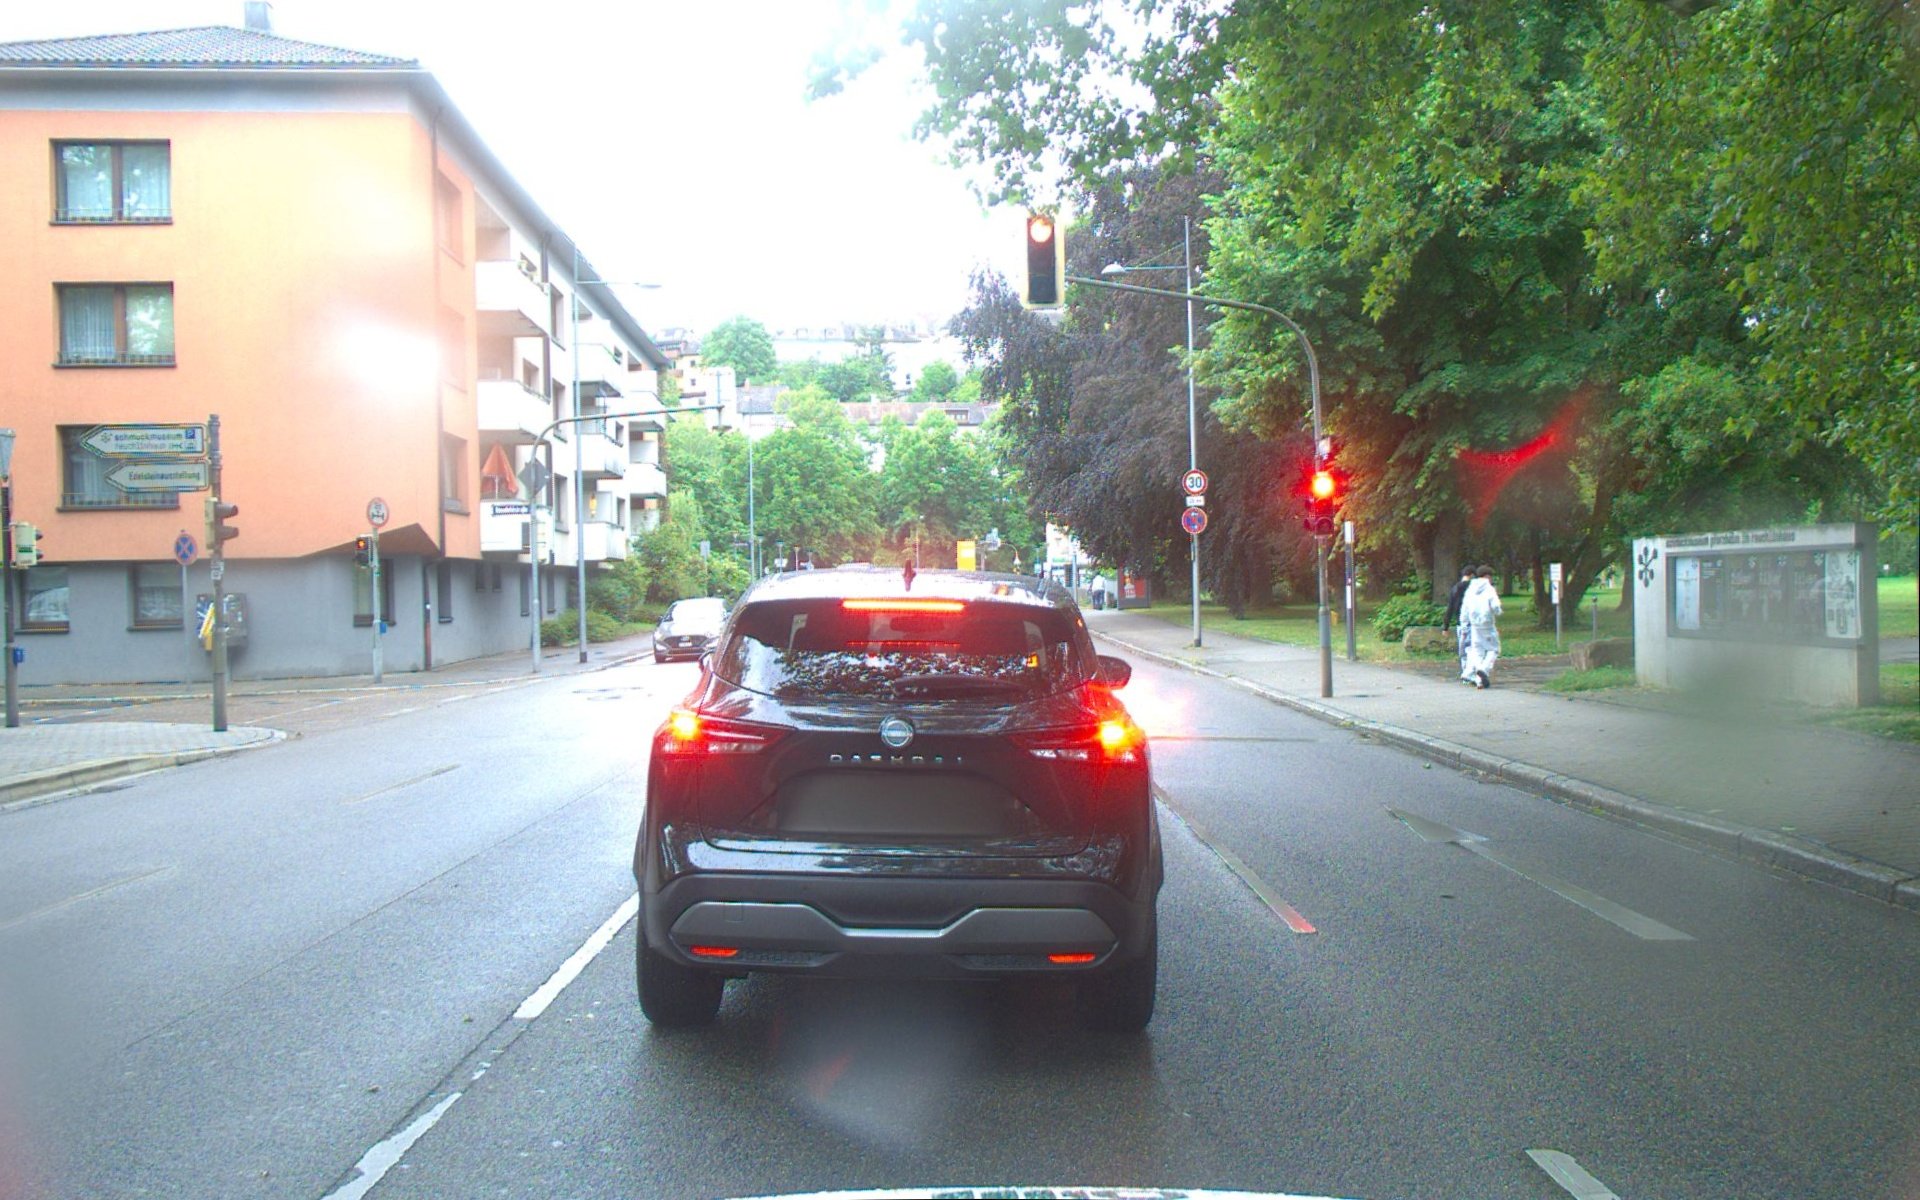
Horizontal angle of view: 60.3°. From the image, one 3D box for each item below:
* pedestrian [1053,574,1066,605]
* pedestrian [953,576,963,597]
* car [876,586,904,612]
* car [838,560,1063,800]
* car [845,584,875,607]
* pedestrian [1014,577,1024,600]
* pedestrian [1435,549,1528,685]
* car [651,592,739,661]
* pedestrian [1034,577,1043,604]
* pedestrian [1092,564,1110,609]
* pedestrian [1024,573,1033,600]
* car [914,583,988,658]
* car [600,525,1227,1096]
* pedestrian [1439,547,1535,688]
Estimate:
[{"bbox_3d":[5.906,-0.640,98.139,0.604,1.833,0.510,-2,0,14],"label":"pedestrian"},{"bbox_3d":[-0.186,-1.080,135.114,0.498,1.702,0.658,-2,0,27],"label":"pedestrian"},{"bbox_3d":[-4.353,-0.064,103.095,1.601,1.559,3.967,-2,0,-1],"label":"car"},{"bbox_3d":[-0.096,0.597,14.441,1.664,1.776,3.640,-2,0,-1],"label":"car"},{"bbox_3d":[-7.211,-0.337,119.424,1.930,1.559,3.967,-2,0,-1],"label":"car"},{"bbox_3d":[4.456,-0.841,124.849,0.498,1.702,0.658,-2,0,27],"label":"pedestrian"},{"bbox_3d":[7.660,0.246,24.302,1.017,1.908,0.656,-3,0,-11],"label":"pedestrian"},{"bbox_3d":[-6.503,0.621,40.874,1.760,1.560,3.864,-2,0,-4],"label":"car"},{"bbox_3d":[5.376,-0.653,112.641,0.498,1.833,0.619,-2,0,-2],"label":"pedestrian"},{"bbox_3d":[6.590,-0.632,77.176,0.710,2.049,0.851,-2,0,-1],"label":"pedestrian"},{"bbox_3d":[4.691,-0.920,113.472,0.497,1.833,0.659,-2,0,11],"label":"pedestrian"},{"bbox_3d":[-0.197,0.460,41.180,1.687,1.707,4.313,-2,0,0],"label":"car"},{"bbox_3d":[-0.160,0.621,6.968,1.874,1.709,3.999,0,0,-1],"label":"car"},{"bbox_3d":[7.494,0.241,23.548,1.017,1.908,0.656,-3,0,-11],"label":"pedestrian"}]
